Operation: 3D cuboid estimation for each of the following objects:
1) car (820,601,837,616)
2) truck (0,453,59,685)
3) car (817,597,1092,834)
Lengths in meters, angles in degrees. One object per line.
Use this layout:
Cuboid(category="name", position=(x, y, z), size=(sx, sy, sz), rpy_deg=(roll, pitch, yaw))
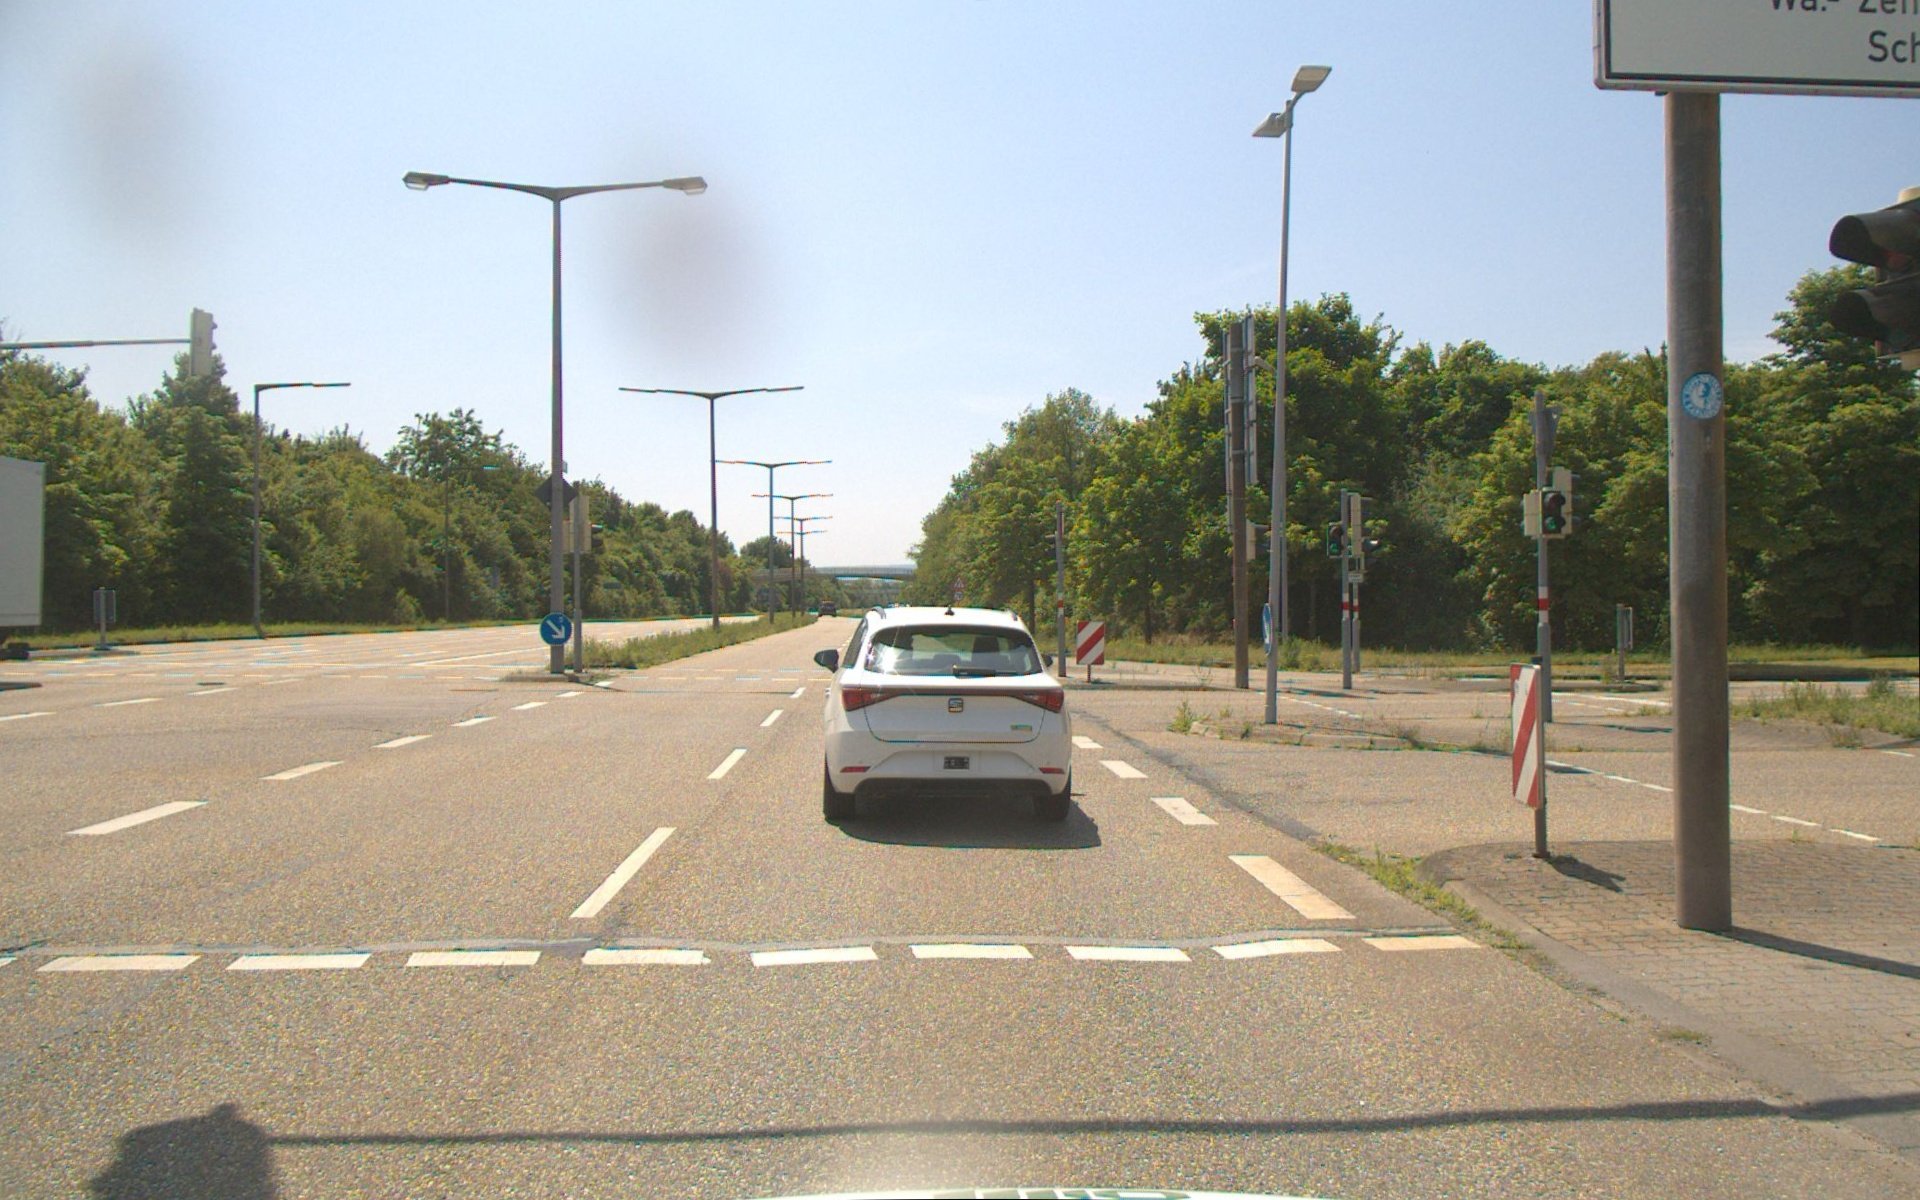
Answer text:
Cuboid(category="car", position=(-16.063, 1.059, 201.936), size=(1.817, 1.739, 4.000), rpy_deg=(0, 0, 0))
Cuboid(category="truck", position=(-16.286, -0.492, 24.072), size=(2.633, 3.633, 7.263), rpy_deg=(0, 0, -3))
Cuboid(category="car", position=(-0.101, 0.758, 12.276), size=(1.699, 1.453, 3.692), rpy_deg=(2, -1, -2))
